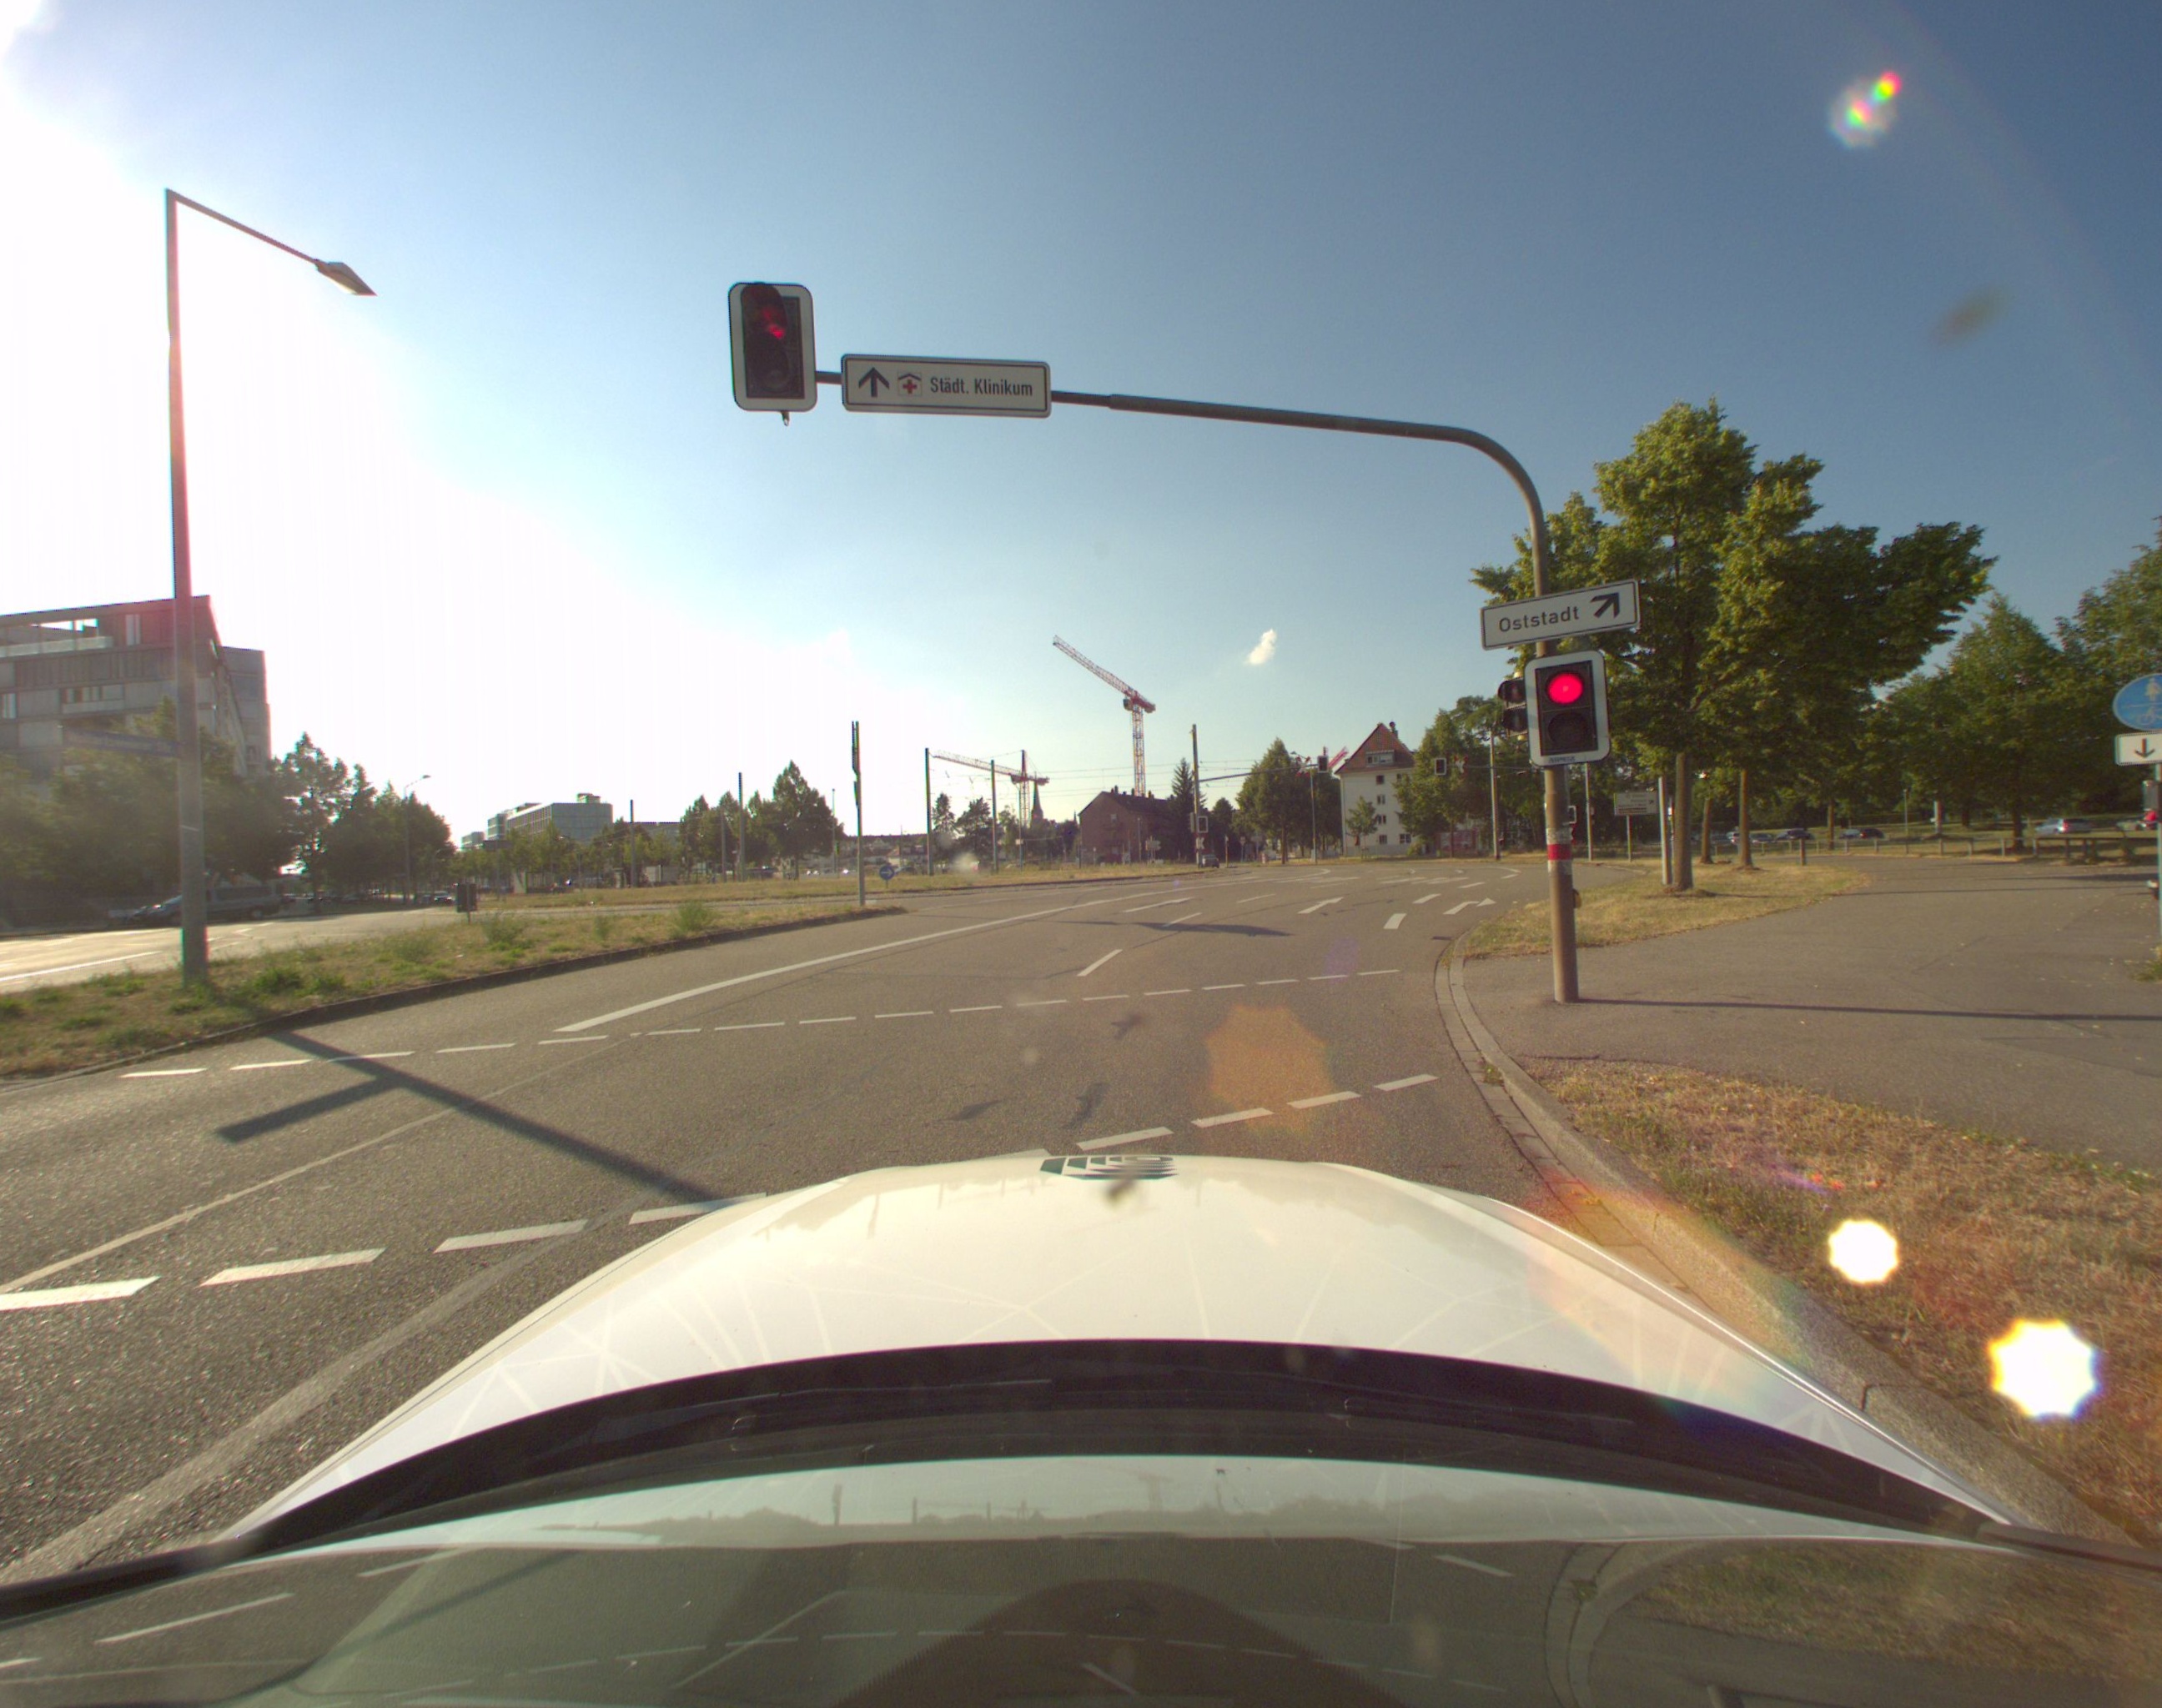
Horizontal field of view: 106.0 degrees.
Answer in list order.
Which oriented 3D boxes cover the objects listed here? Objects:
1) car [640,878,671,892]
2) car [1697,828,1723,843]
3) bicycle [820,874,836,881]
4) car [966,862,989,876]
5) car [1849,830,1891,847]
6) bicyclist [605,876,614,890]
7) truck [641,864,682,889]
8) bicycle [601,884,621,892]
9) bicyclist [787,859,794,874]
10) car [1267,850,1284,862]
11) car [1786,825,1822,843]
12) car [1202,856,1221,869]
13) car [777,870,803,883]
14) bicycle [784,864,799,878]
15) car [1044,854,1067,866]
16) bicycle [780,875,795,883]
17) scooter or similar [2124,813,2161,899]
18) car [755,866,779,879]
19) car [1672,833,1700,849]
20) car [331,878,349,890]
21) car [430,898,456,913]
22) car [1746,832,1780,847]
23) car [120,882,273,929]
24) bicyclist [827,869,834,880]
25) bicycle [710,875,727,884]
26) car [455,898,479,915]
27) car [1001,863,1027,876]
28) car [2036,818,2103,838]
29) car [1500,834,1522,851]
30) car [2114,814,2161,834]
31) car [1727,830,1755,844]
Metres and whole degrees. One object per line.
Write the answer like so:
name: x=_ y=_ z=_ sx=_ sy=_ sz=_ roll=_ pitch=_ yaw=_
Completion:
car: x=-43.778 y=3.185 z=83.742 sx=2.686 sy=1.261 sz=1.102 roll=-2 pitch=0 yaw=-35
car: x=64.715 y=-1.856 z=83.824 sx=1.586 sy=1.402 sz=3.993 roll=-3 pitch=-1 yaw=30
bicycle: x=-29.659 y=2.796 z=95.548 sx=1.723 sy=0.744 sz=0.477 roll=-2 pitch=0 yaw=-22
car: x=-14.830 y=2.105 z=116.650 sx=1.930 sy=1.854 sz=3.964 roll=-2 pitch=0 yaw=-28
car: x=67.182 y=-1.308 z=69.380 sx=1.586 sy=1.310 sz=3.993 roll=-3 pitch=-1 yaw=30
bicyclist: x=-47.179 y=2.919 z=81.542 sx=0.658 sy=1.325 sz=0.512 roll=-2 pitch=0 yaw=-42
truck: x=-59.407 y=3.188 z=115.253 sx=3.156 sy=3.231 sz=7.085 roll=-2 pitch=0 yaw=-44
bicycle: x=-47.078 y=3.402 z=81.575 sx=1.731 sy=0.744 sz=0.475 roll=-2 pitch=0 yaw=-42
bicyclist: x=-33.217 y=1.395 z=93.120 sx=0.609 sy=1.672 sz=0.474 roll=-2 pitch=-1 yaw=-23
car: x=33.894 y=0.333 z=141.860 sx=1.975 sy=1.780 sz=4.024 roll=-3 pitch=0 yaw=26
car: x=63.365 y=-1.728 z=71.438 sx=1.586 sy=1.402 sz=3.993 roll=-3 pitch=-1 yaw=30
car: x=13.592 y=0.878 z=84.982 sx=1.450 sy=1.300 sz=3.550 roll=-2 pitch=0 yaw=2
car: x=-47.099 y=3.686 z=131.905 sx=3.948 sy=2.013 sz=2.013 roll=-3 pitch=0 yaw=36
bicycle: x=-33.129 y=1.935 z=93.147 sx=1.546 sy=1.473 sz=0.476 roll=-2 pitch=0 yaw=-24
car: x=-4.676 y=1.042 z=150.066 sx=3.776 sy=2.014 sz=1.680 roll=-3 pitch=-1 yaw=20
bicycle: x=-33.829 y=2.836 z=93.836 sx=1.622 sy=0.860 sz=0.541 roll=-2 pitch=0 yaw=-24
scooter or similar: x=15.395 y=0.005 z=11.548 sx=1.172 sy=1.160 sz=0.340 roll=-4 pitch=-3 yaw=-23
car: x=-53.113 y=3.150 z=137.692 sx=3.948 sy=2.013 sz=2.013 roll=-3 pitch=0 yaw=36
car: x=56.189 y=-1.219 z=75.658 sx=1.586 sy=1.402 sz=3.993 roll=-3 pitch=-1 yaw=30
car: x=-110.525 y=4.455 z=121.429 sx=1.800 sy=1.556 sz=3.950 roll=0 pitch=-1 yaw=-45
car: x=-70.530 y=5.677 z=90.009 sx=2.011 sy=1.475 sz=3.952 roll=-2 pitch=0 yaw=-42
car: x=60.896 y=-1.274 z=72.758 sx=1.586 sy=1.221 sz=3.993 roll=-3 pitch=-1 yaw=30
car: x=-45.198 y=2.593 z=41.785 sx=1.977 sy=2.013 sz=4.844 roll=-3 pitch=0 yaw=19
bicyclist: x=-29.435 y=2.421 z=95.660 sx=0.655 sy=1.325 sz=0.515 roll=-2 pitch=0 yaw=-22
bicycle: x=-38.676 y=2.682 z=86.935 sx=1.622 sy=0.860 sz=0.541 roll=-2 pitch=0 yaw=-24
car: x=-58.486 y=4.961 z=77.572 sx=1.493 sy=1.475 sz=3.260 roll=-2 pitch=0 yaw=-42
car: x=-10.899 y=2.560 z=132.865 sx=3.776 sy=2.014 sz=1.680 roll=-3 pitch=-1 yaw=20
car: x=78.241 y=-2.014 z=64.505 sx=1.804 sy=1.403 sz=4.023 roll=-3 pitch=-1 yaw=26
car: x=42.946 y=-1.146 z=81.293 sx=1.754 sy=1.618 sz=3.993 roll=-3 pitch=-1 yaw=30
car: x=82.741 y=-2.369 z=63.033 sx=1.804 sy=1.403 sz=4.023 roll=-3 pitch=-1 yaw=26
car: x=67.155 y=-1.713 z=82.873 sx=1.586 sy=1.402 sz=3.993 roll=-3 pitch=-1 yaw=30
